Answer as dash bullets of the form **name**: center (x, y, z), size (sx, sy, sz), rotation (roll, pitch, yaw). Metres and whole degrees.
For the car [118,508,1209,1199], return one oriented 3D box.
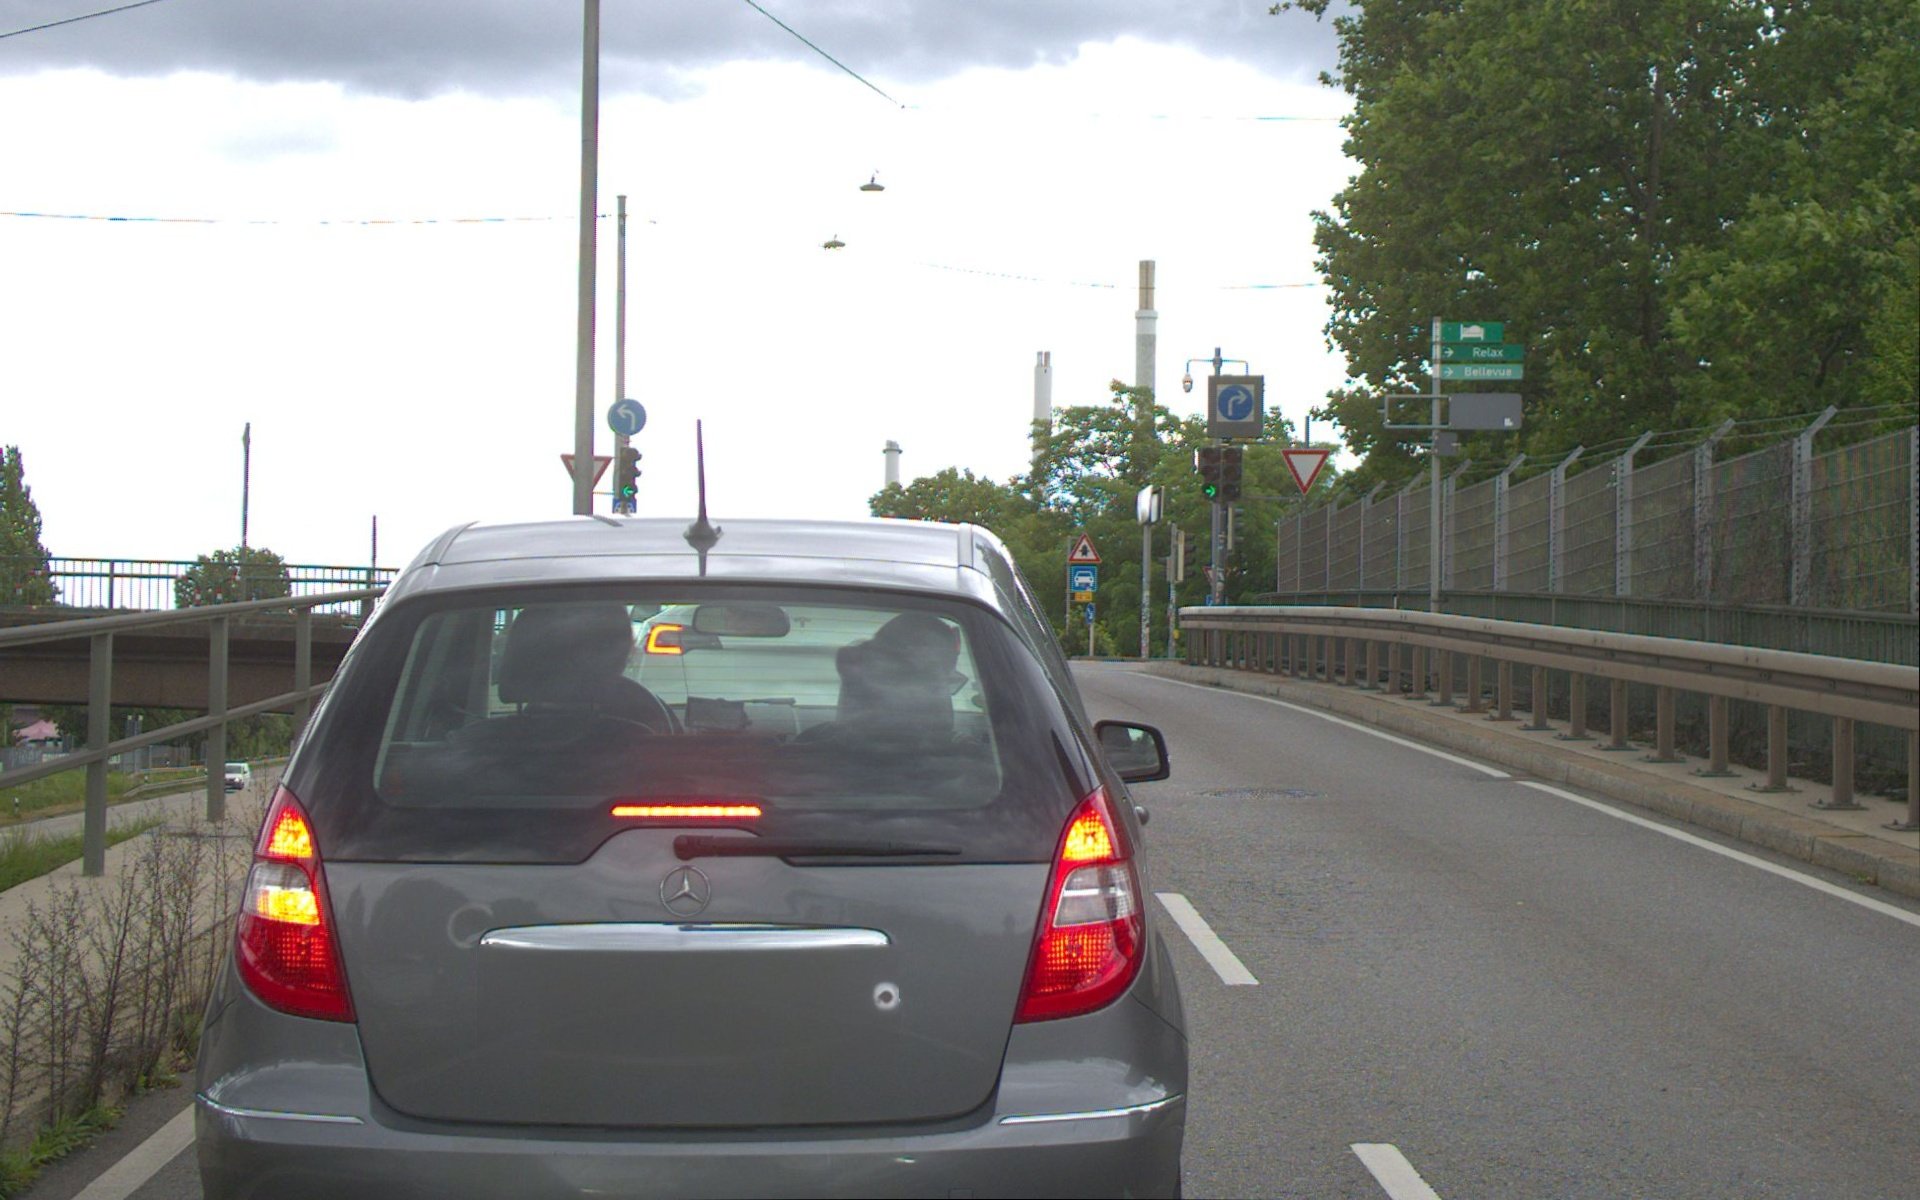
- **car**: center (-0.415, 0.601, 7.561), size (1.750, 1.575, 4.085), rotation (0, 1, 2)

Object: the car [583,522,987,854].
- **car**: center (-0.894, 0.390, 18.986), size (1.993, 1.597, 4.001), rotation (0, 2, -1)
